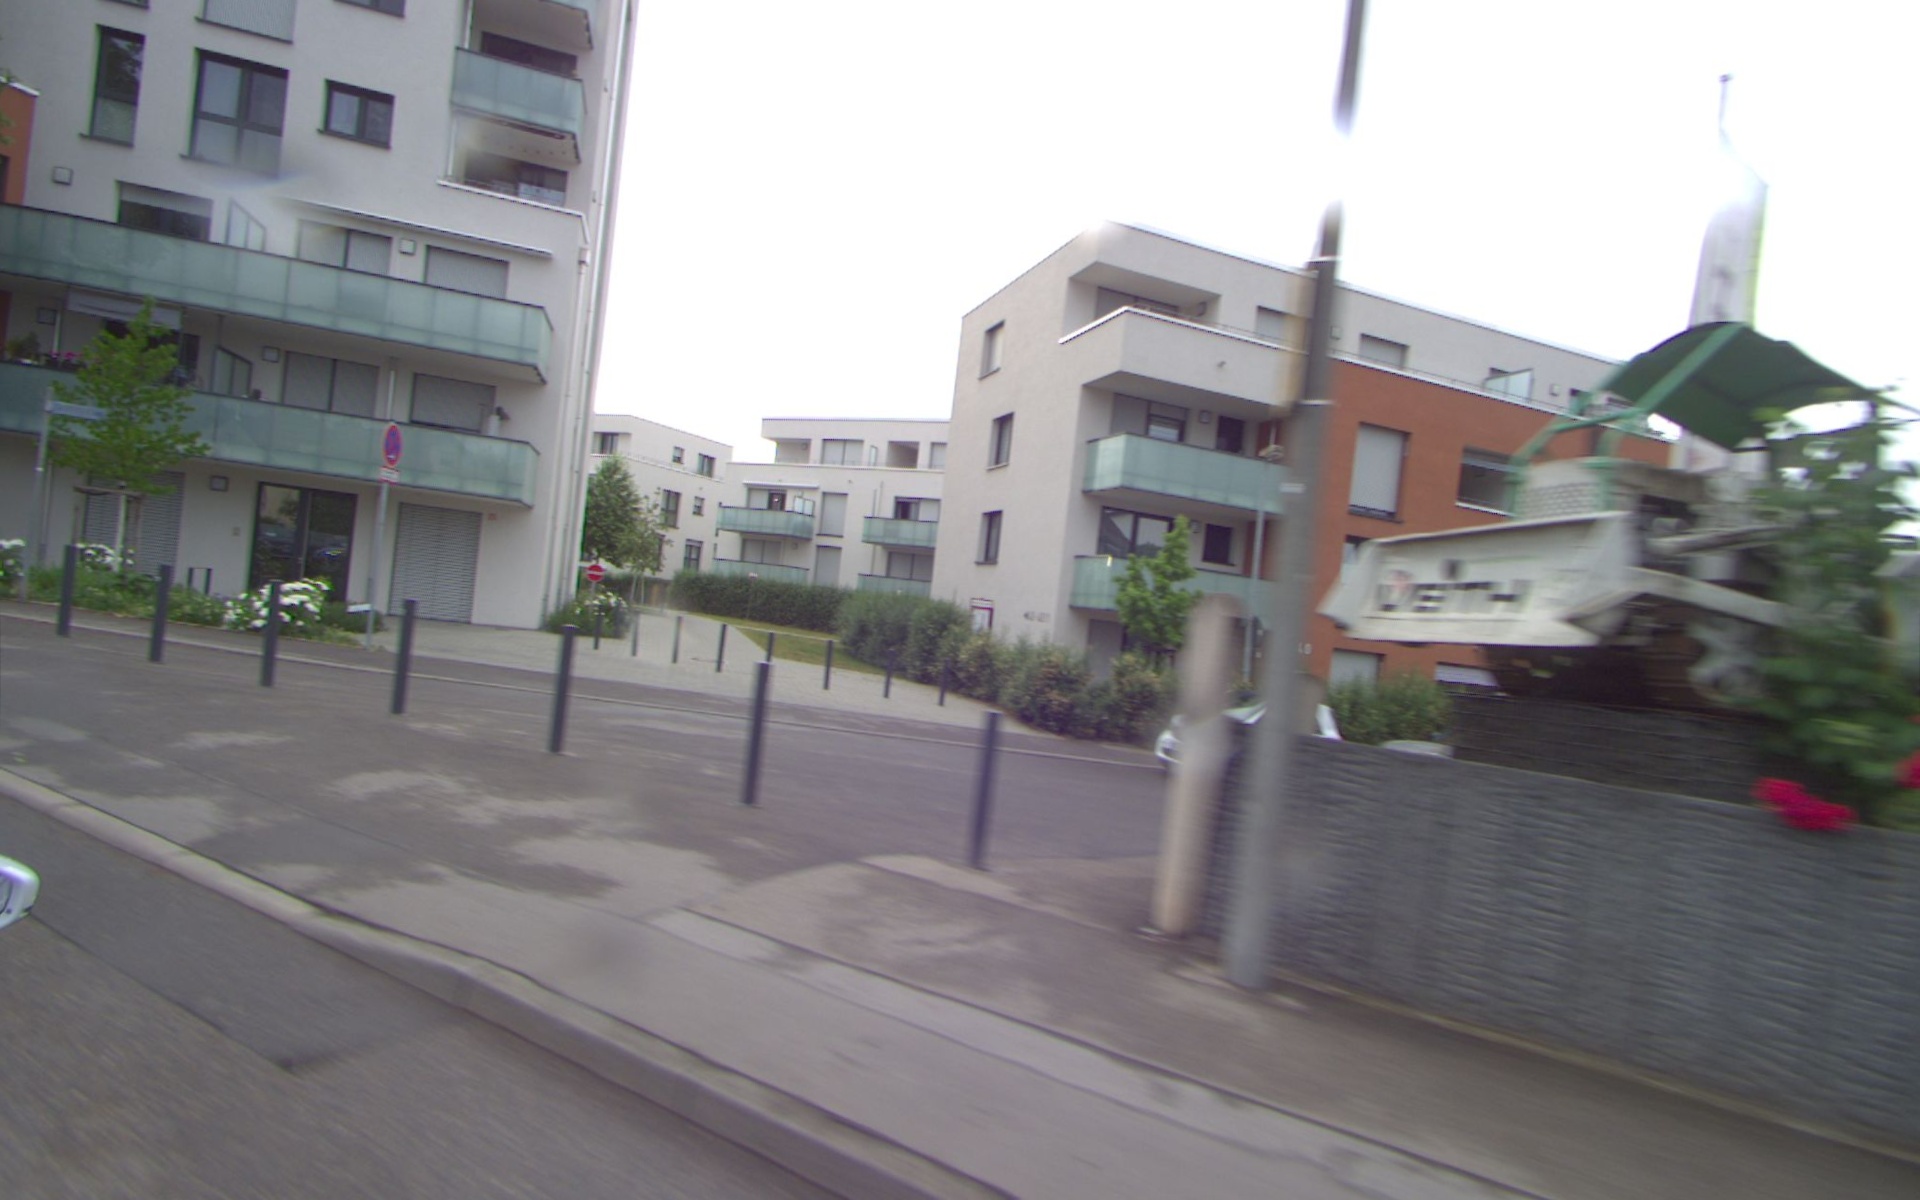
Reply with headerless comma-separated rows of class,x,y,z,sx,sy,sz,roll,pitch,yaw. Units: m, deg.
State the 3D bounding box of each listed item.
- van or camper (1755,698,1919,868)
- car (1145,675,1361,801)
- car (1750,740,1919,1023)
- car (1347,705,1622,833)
van or camper,20.752,4.131,21.993,5.869,3.030,2.316,9,0,-20
car,4.668,2.193,16.145,2.707,1.490,1.719,9,-1,-21
car,8.597,2.392,8.770,1.967,1.892,4.131,8,-1,31
car,9.107,2.923,17.513,4.070,1.561,1.845,8,-1,-20
